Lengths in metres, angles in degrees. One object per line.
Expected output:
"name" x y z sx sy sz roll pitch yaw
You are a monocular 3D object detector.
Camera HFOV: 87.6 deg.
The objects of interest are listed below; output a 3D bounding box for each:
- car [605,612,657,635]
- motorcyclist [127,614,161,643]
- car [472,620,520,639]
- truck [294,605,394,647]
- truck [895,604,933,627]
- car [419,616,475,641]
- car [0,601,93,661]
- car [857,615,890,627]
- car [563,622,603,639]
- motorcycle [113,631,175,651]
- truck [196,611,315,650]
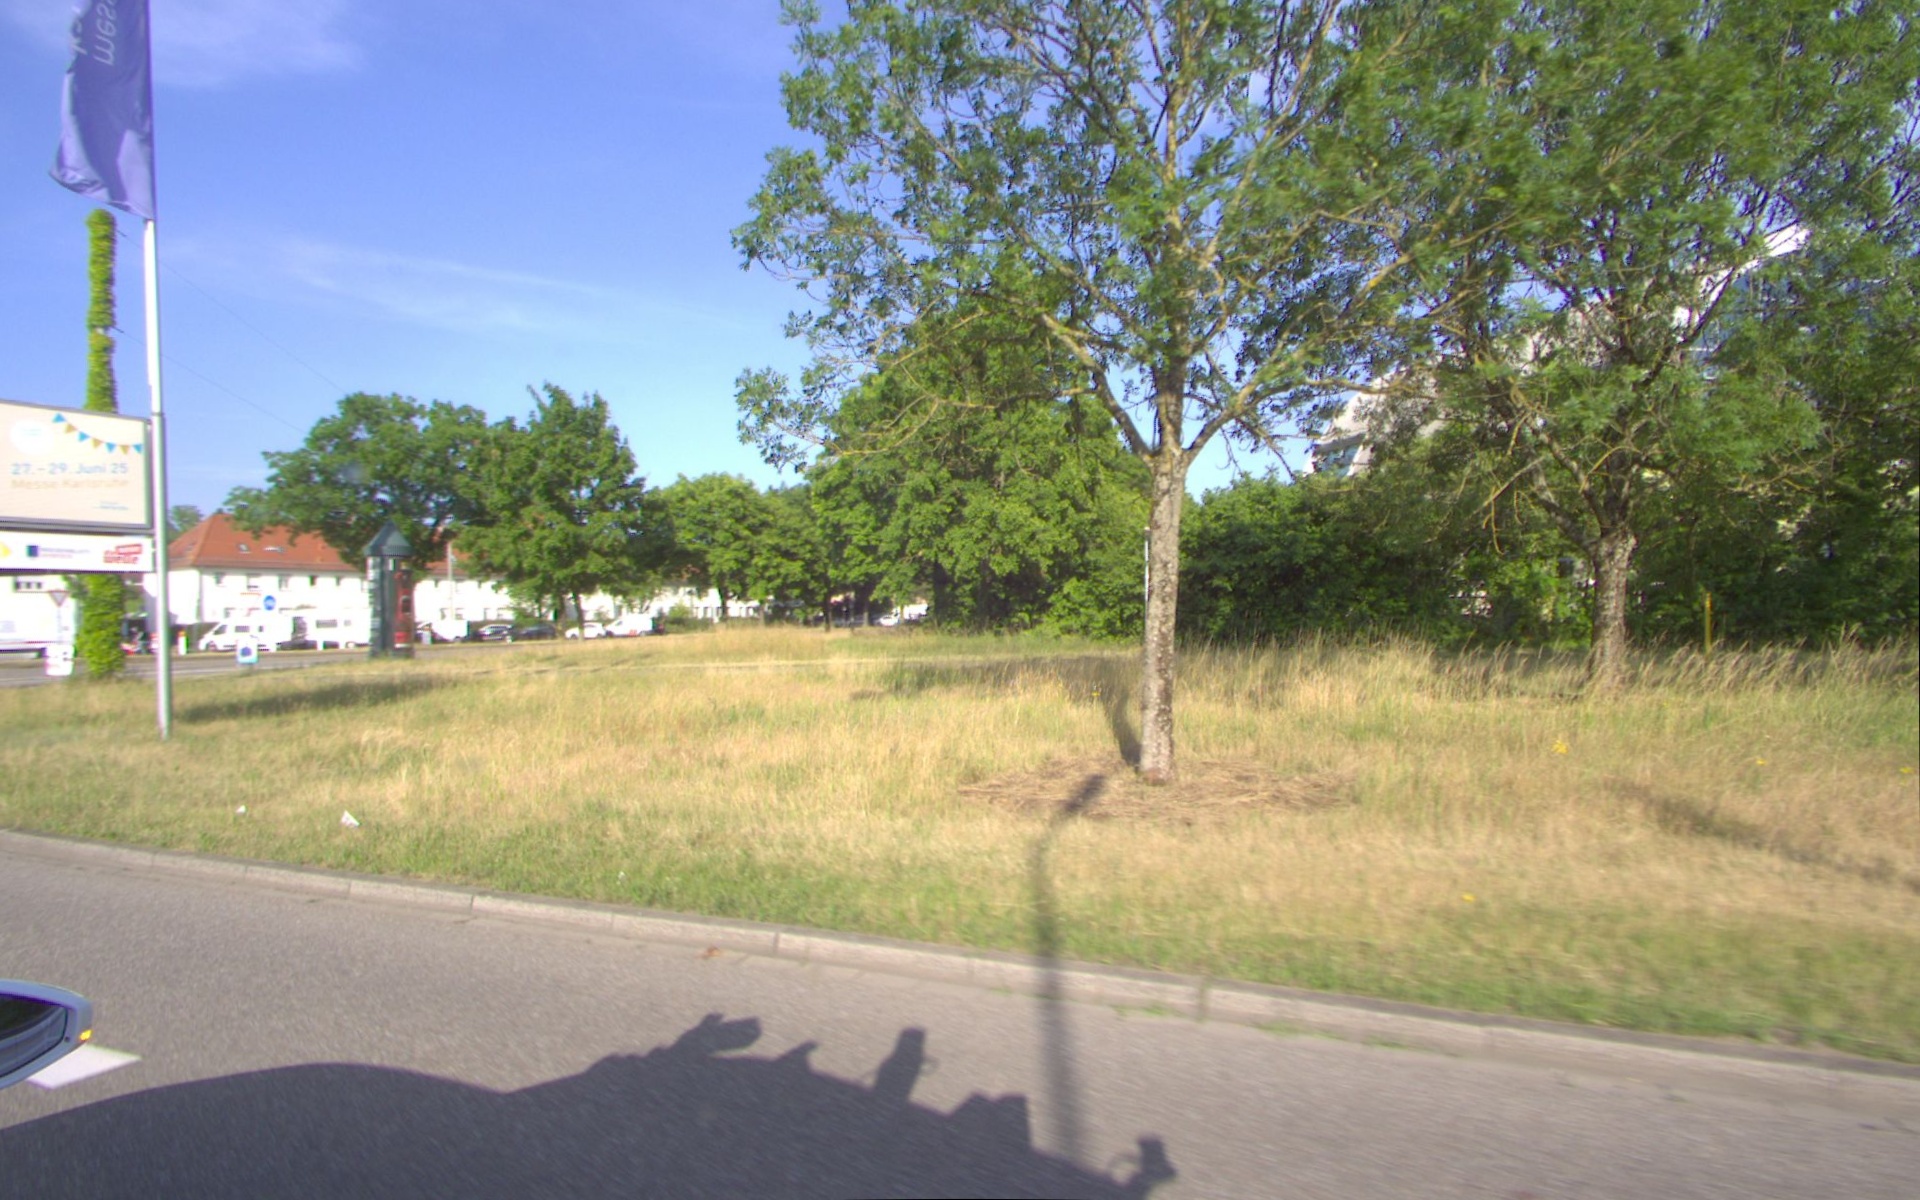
"car" -32.960 2.338 100.360 4.893 2.261 1.996 -1 0 -19
"motorcyclist" -39.605 1.389 48.613 0.669 1.369 1.065 -1 0 26
"car" -39.687 2.547 85.660 3.436 1.533 1.893 -1 0 -15
"truck" -45.324 1.878 73.800 5.974 2.892 1.892 -1 0 -20
"truck" -7.084 2.372 154.168 5.416 3.510 1.993 -1 0 -24
"car" -42.206 2.353 82.488 3.842 1.945 1.892 -1 0 -19
"car" -42.635 1.387 44.274 1.968 2.617 6.206 -1 -1 27
"car" -12.401 2.993 143.310 4.460 1.745 1.997 -1 -1 -17
"car" -35.598 2.901 94.703 3.371 1.533 1.893 -1 0 -15
"motorcycle" -39.600 1.973 48.619 0.679 0.878 2.271 -1 -1 26
"truck" -47.801 2.027 68.031 6.237 2.557 2.277 0 0 -8
